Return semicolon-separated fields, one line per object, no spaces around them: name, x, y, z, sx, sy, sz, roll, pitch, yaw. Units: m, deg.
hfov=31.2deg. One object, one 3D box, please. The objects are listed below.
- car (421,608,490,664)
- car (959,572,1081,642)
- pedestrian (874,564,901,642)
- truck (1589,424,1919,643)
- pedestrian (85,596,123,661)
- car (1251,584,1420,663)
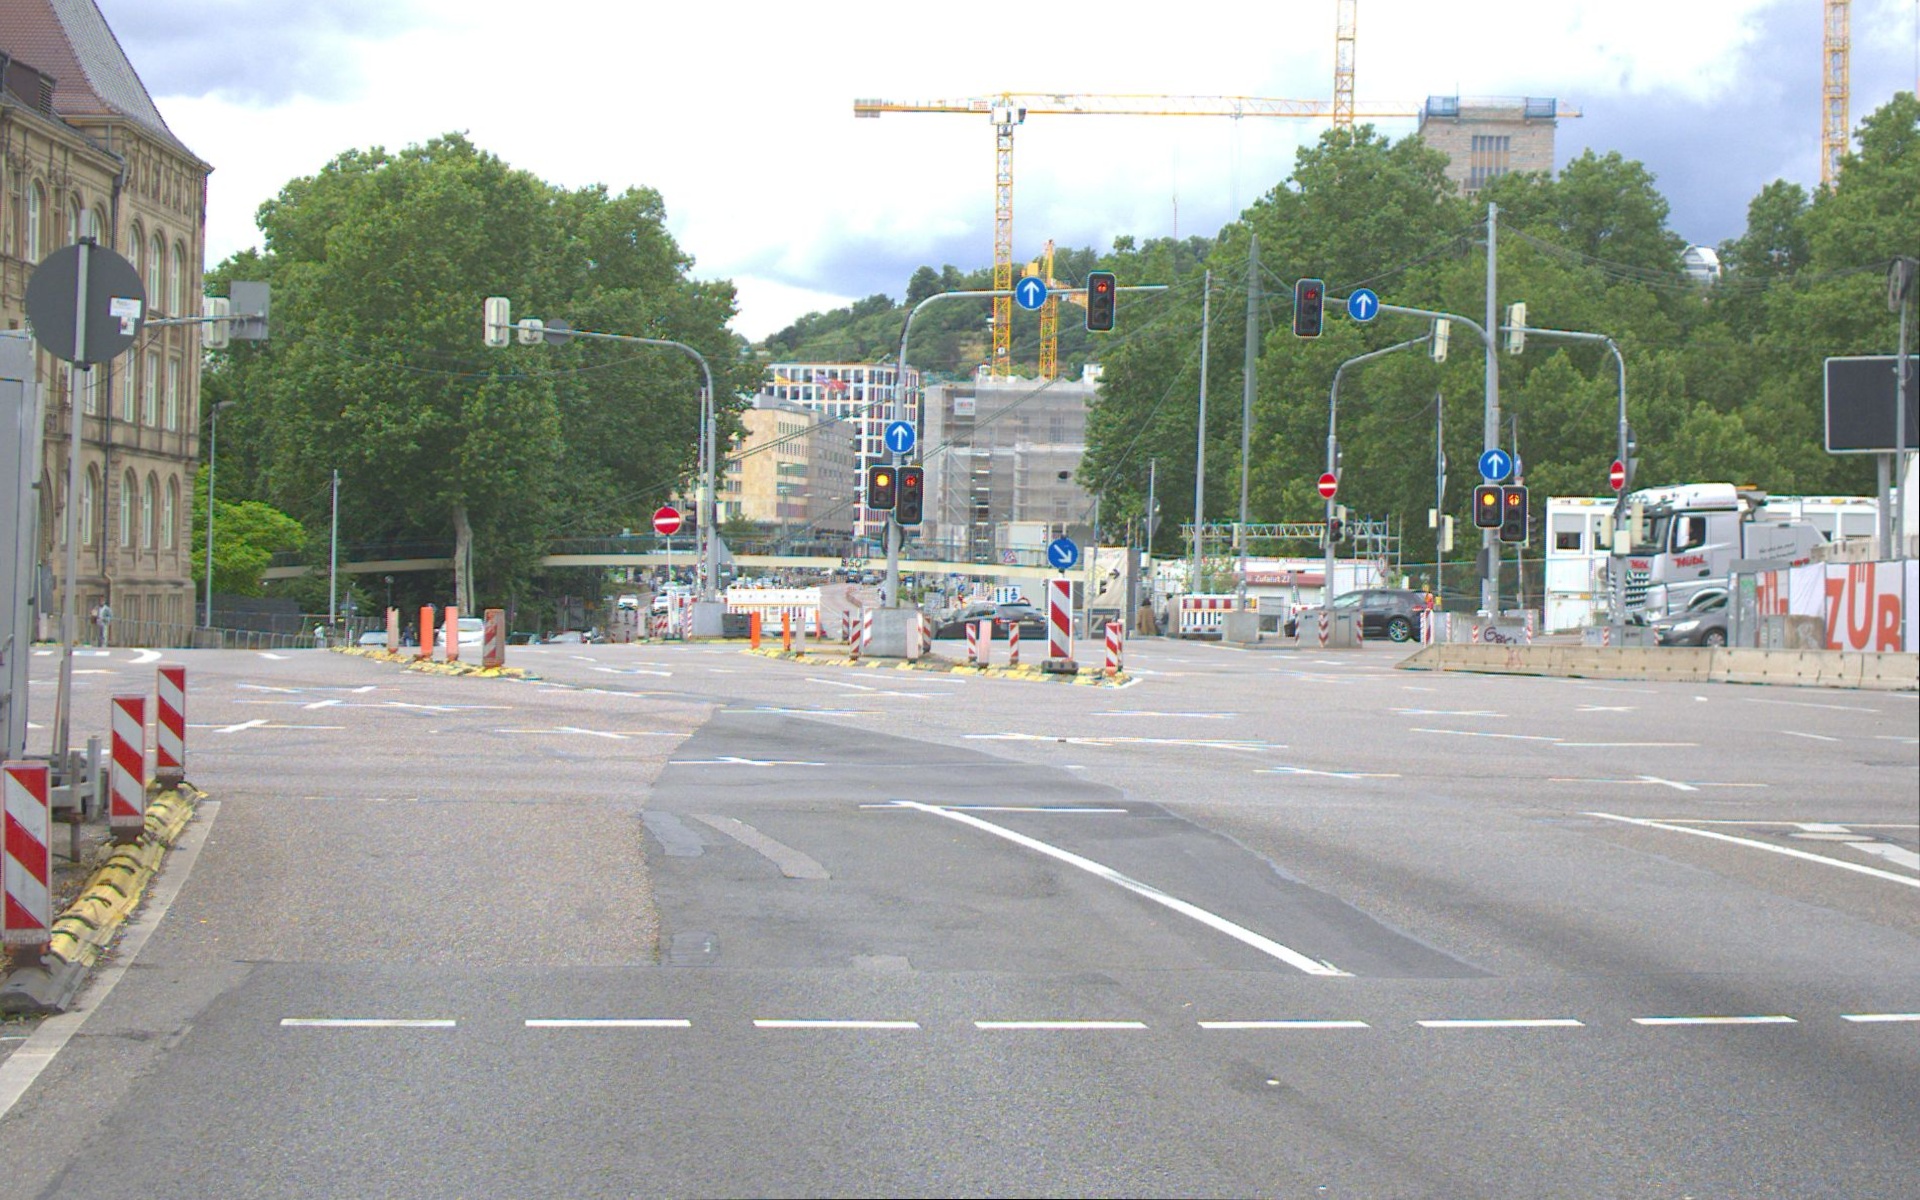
car;-17.454;1.235;119.152;1.993;1.831;4.001;1;1;-3
car;1.774;0.197;103.309;1.993;2.007;4.278;1;1;-24
pedestrian;-1.728;0.079;81.599;0.585;1.834;0.604;1;0;-4
truck;19.953;-1.502;80.985;9.712;4.943;3.114;1;0;-18
pedestrian;-26.753;0.890;107.484;0.950;2.007;0.766;1;0;2
car;10.024;0.614;91.755;3.994;2.007;1.997;1;1;31
